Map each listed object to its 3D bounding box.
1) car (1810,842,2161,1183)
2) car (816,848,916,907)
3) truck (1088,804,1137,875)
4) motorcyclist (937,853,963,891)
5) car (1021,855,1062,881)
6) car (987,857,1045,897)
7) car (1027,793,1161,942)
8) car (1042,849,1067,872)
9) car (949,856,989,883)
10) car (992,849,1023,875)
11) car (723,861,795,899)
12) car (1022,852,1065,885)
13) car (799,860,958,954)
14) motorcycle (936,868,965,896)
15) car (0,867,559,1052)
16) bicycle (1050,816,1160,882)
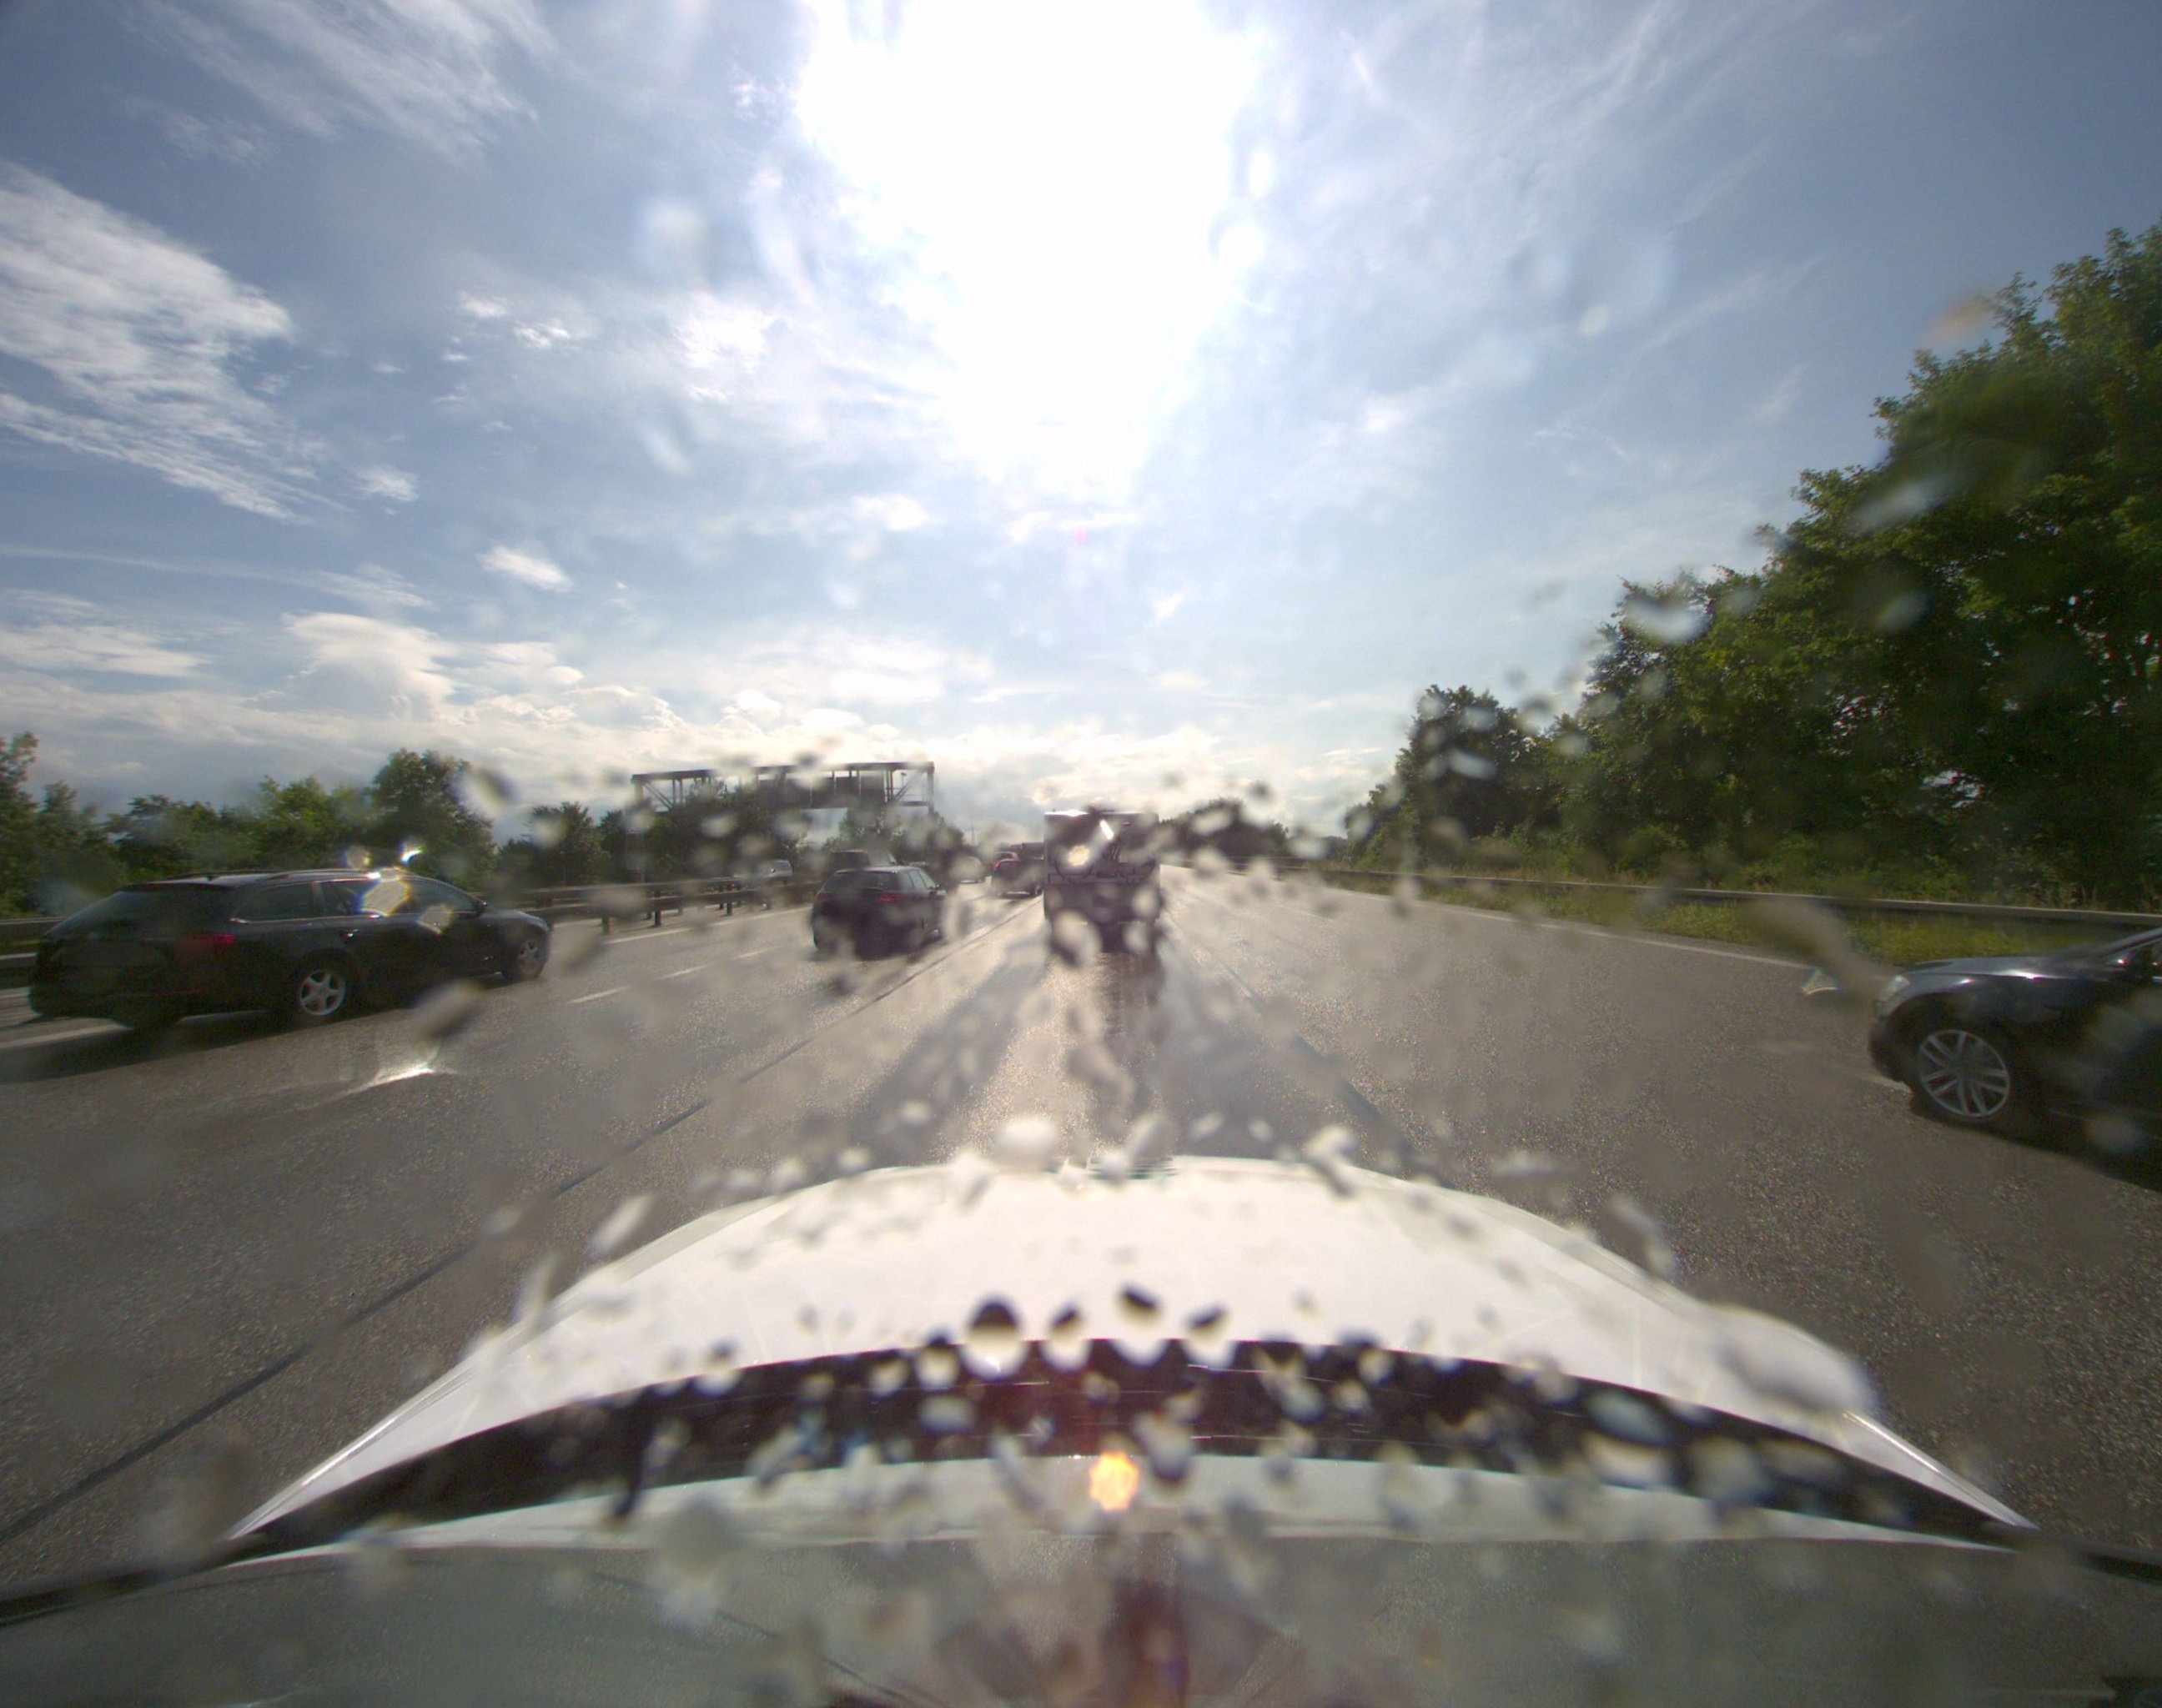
[{"bbox_3d":[5.422,0.654,2.865,1.738,1.431,4.403,-1,0,-1],"label":"car"},{"bbox_3d":[-7.409,0.750,28.704,1.799,1.844,5.422,-1,0,3],"label":"car"},{"bbox_3d":[2.192,-0.918,58.772,3.134,4.626,10.739,-1,0,1],"label":"truck"},{"bbox_3d":[-5.330,0.727,33.208,0.793,1.537,1.094,-1,0,2],"label":"motorcyclist"},{"bbox_3d":[-2.241,0.791,47.460,1.979,1.458,3.829,-1,0,3],"label":"car"},{"bbox_3d":[-2.517,0.878,32.324,1.751,1.443,4.003,-1,0,3],"label":"car"},{"bbox_3d":[0.350,0.255,16.747,2.400,2.674,4.003,-1,-1,3],"label":"car"},{"bbox_3d":[-2.009,0.505,62.429,1.682,1.662,3.642,-1,0,2],"label":"car"},{"bbox_3d":[-6.820,0.924,50.039,1.777,1.578,3.917,-1,0,1],"label":"car"},{"bbox_3d":[-5.747,0.637,64.434,1.841,1.934,5.018,-1,0,2],"label":"car"},{"bbox_3d":[-18.211,1.418,46.349,1.986,2.013,4.953,-1,0,2],"label":"car"},{"bbox_3d":[-1.810,0.702,40.486,1.856,1.508,4.001,-1,0,1],"label":"car"},{"bbox_3d":[-3.503,0.845,14.862,1.743,1.433,4.056,-1,0,2],"label":"car"},{"bbox_3d":[-5.263,1.118,33.076,0.688,1.027,2.389,-1,0,2],"label":"motorcycle"},{"bbox_3d":[-8.054,0.892,8.798,1.913,1.425,4.373,-1,0,1],"label":"car"},{"bbox_3d":[0.436,-0.082,14.539,1.925,1.141,0.384,-1,-1,3],"label":"bicycle"}]
